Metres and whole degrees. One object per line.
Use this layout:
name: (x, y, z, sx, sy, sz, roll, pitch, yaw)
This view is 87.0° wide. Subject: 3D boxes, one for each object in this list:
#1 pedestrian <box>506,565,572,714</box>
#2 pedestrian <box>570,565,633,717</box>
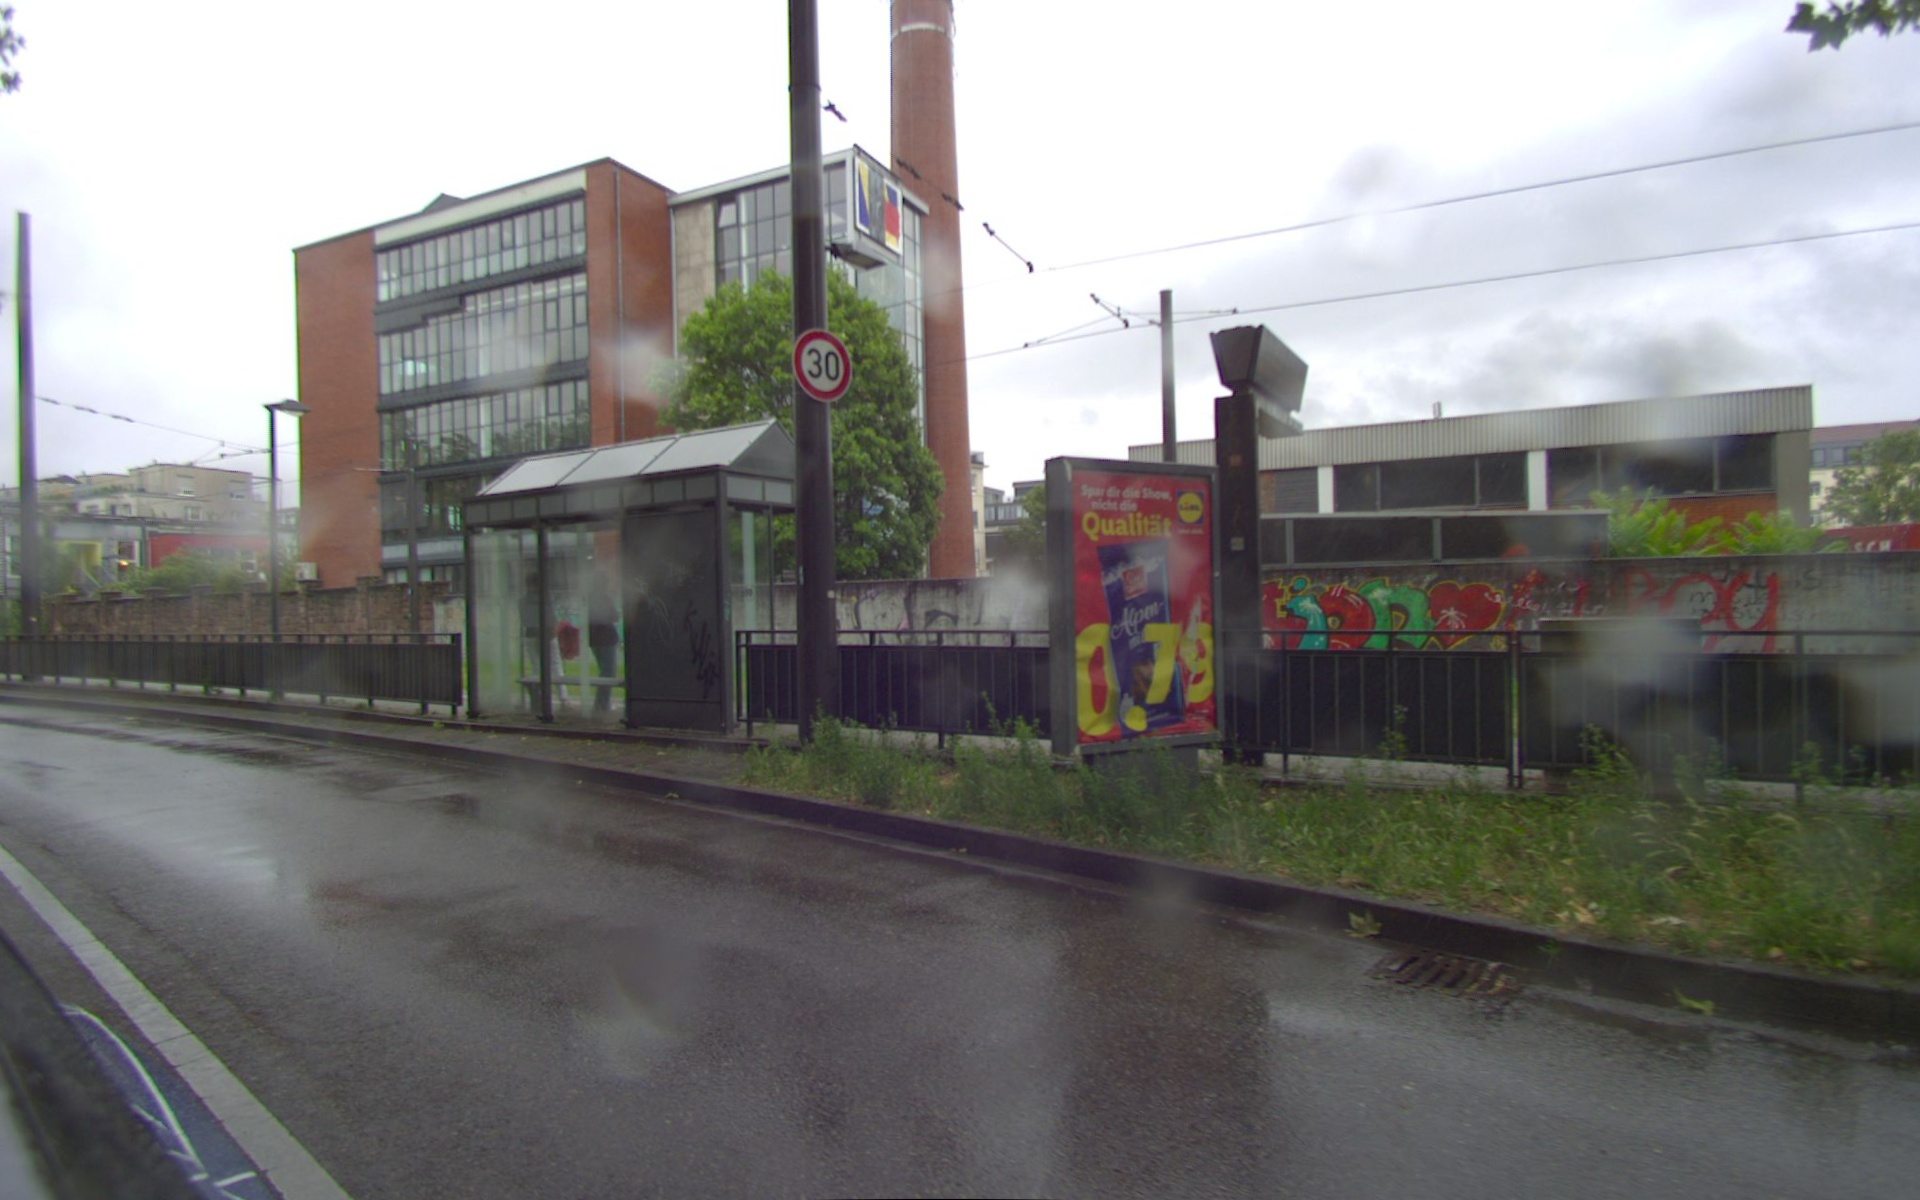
pedestrian: (-5.058, 0.476, 12.183, 0.560, 1.744, 0.583, -1, -2, -1)
pedestrian: (-4.231, 0.477, 11.964, 0.560, 1.744, 0.583, 0, -2, -3)
